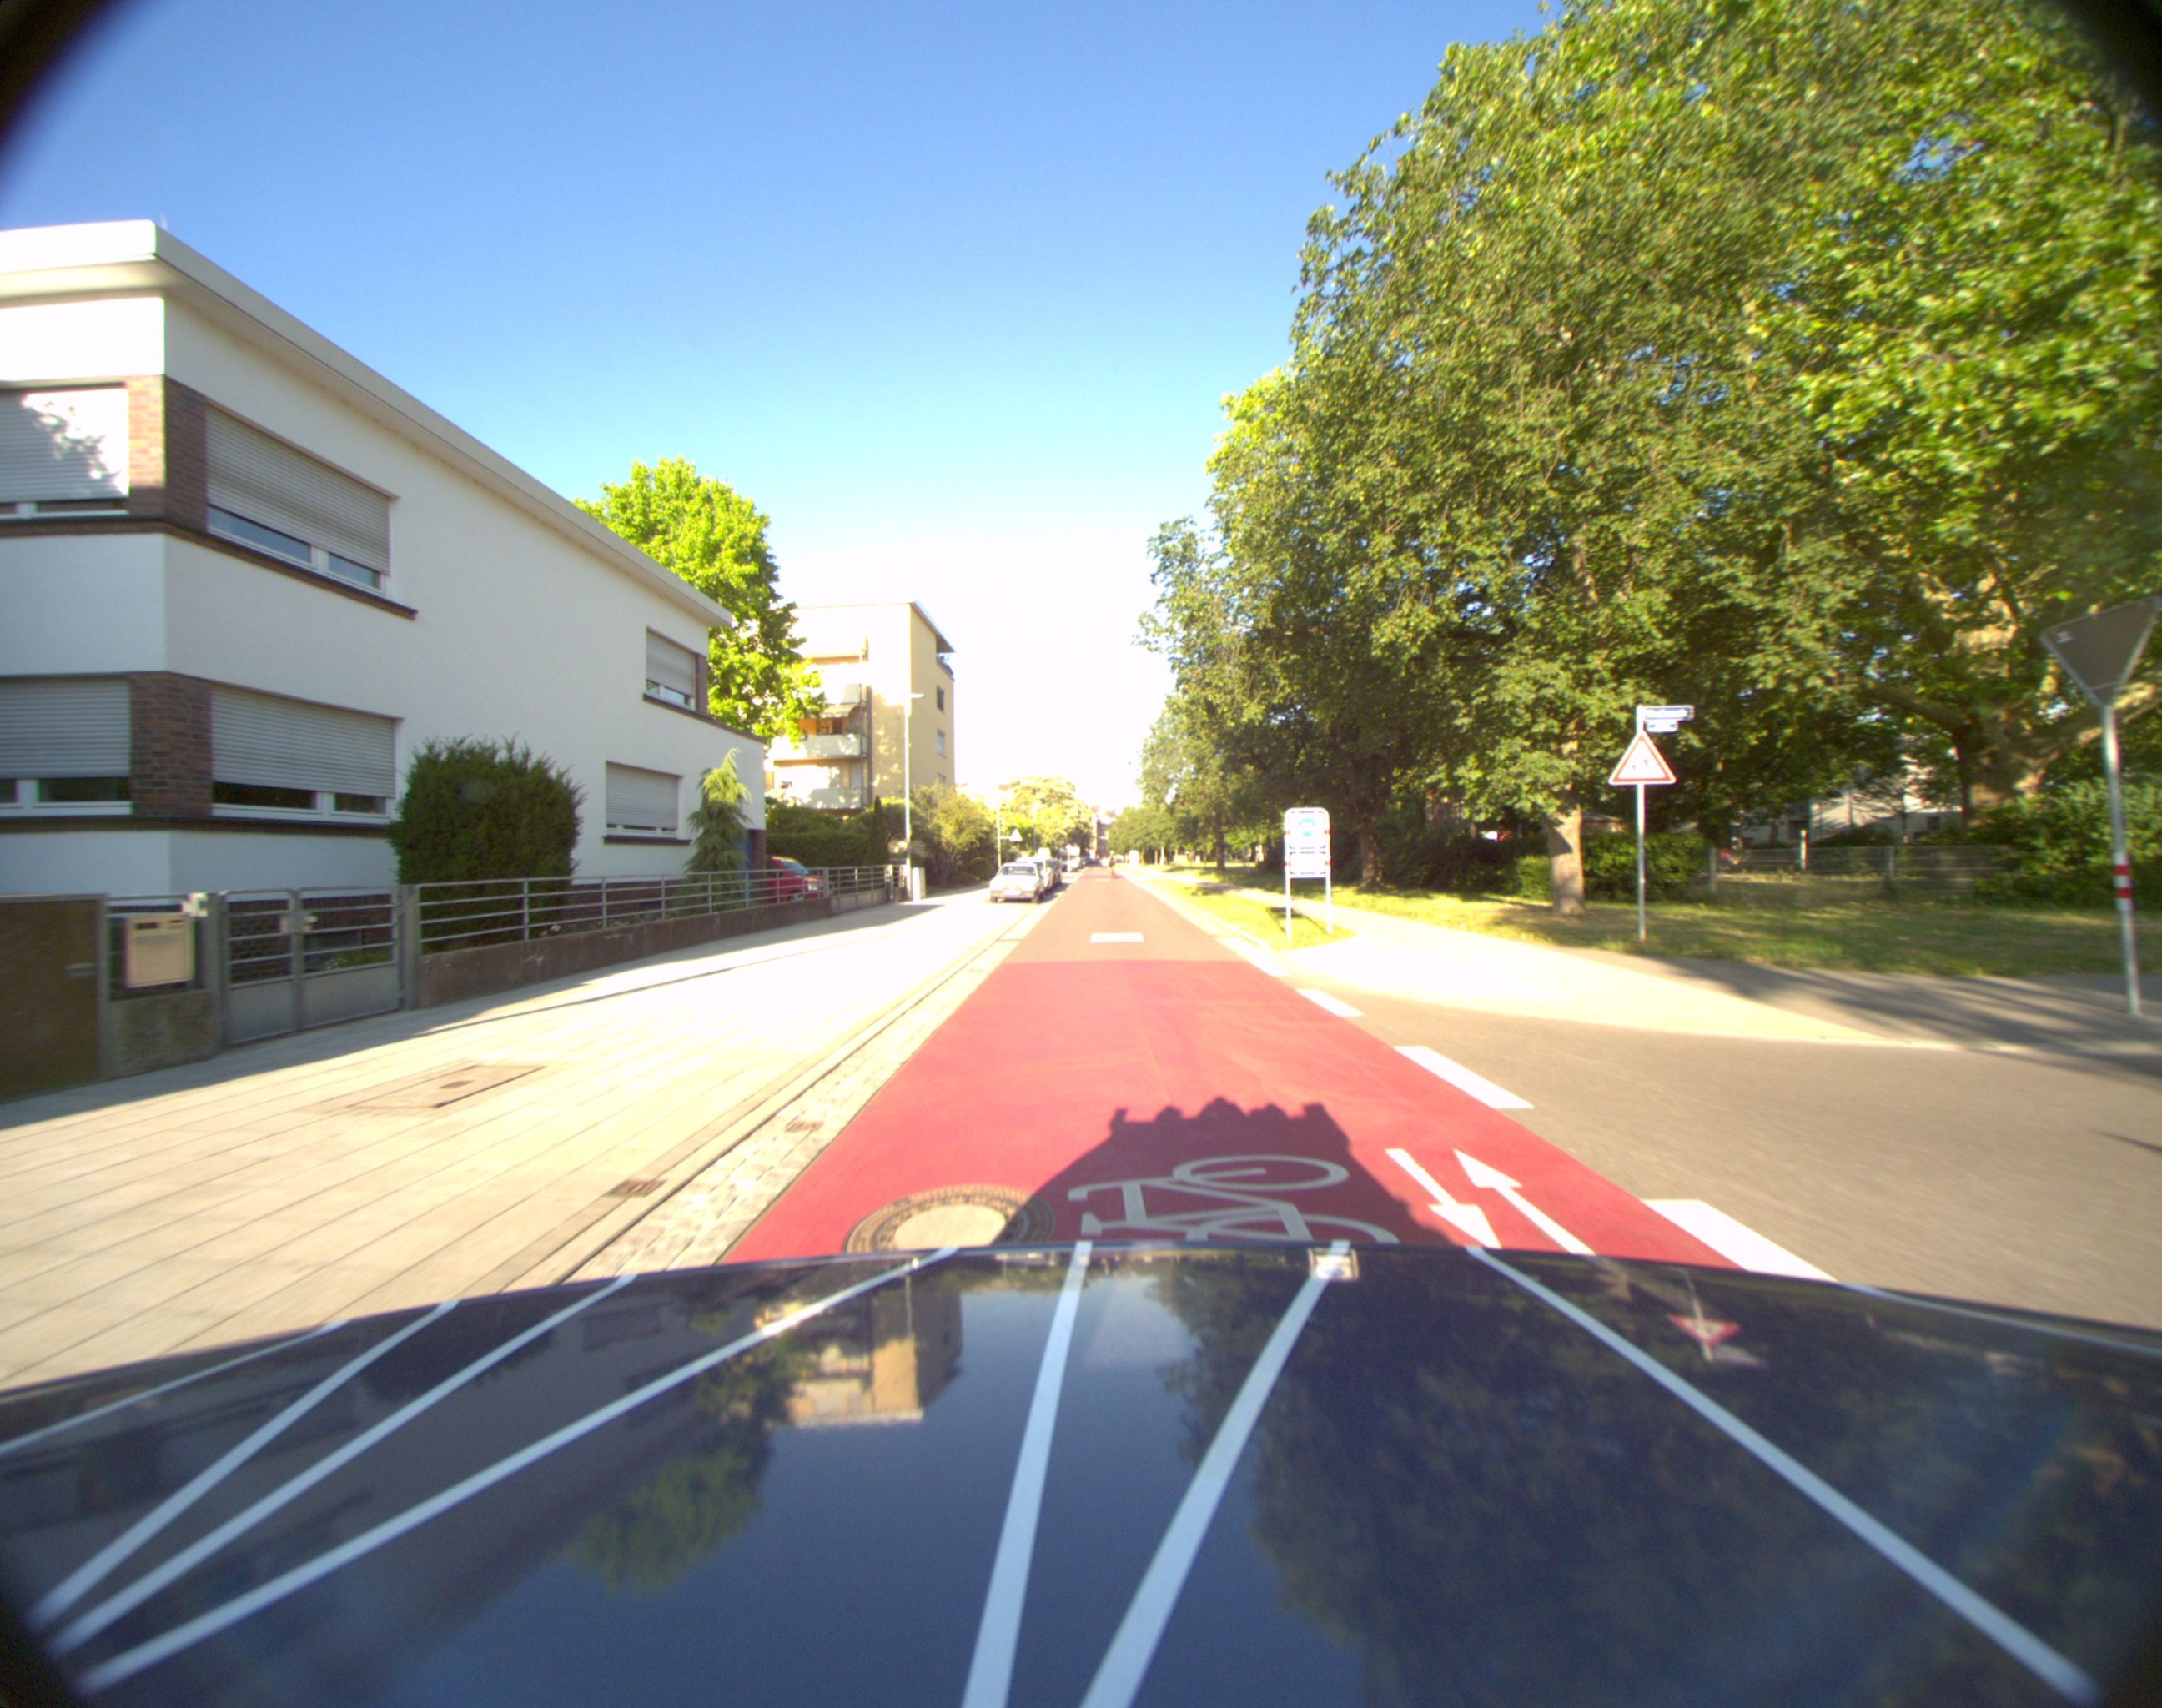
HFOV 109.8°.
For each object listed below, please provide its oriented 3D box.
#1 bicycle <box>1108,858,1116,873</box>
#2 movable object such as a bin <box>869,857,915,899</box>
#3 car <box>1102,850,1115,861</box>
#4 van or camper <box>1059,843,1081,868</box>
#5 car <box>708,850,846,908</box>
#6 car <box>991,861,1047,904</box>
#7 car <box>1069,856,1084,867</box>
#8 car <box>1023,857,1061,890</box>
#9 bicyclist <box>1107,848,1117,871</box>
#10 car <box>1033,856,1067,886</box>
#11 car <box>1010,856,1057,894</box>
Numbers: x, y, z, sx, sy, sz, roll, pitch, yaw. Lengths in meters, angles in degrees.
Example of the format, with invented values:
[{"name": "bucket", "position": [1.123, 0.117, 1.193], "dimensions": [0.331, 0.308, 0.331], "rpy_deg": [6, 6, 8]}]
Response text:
[{"name": "bicycle", "position": [2.368, 0.874, 57.420], "dimensions": [0.558, 1.026, 1.914], "rpy_deg": [-1, 1, 1]}, {"name": "movable object such as a bin", "position": [-6.695, 0.825, 26.973], "dimensions": [1.240, 1.424, 1.123], "rpy_deg": [-2, 1, 3]}, {"name": "car", "position": [4.534, 0.210, 126.426], "dimensions": [1.848, 1.837, 4.572], "rpy_deg": [-1, 0, -1]}, {"name": "van or camper", "position": [-1.189, 0.124, 85.572], "dimensions": [2.427, 2.766, 5.952], "rpy_deg": [1, 1, 0]}, {"name": "car", "position": [-9.254, 0.758, 23.256], "dimensions": [3.499, 1.632, 1.644], "rpy_deg": [-2, 1, 9]}, {"name": "car", "position": [-2.171, 0.981, 27.770], "dimensions": [1.567, 1.382, 4.374], "rpy_deg": [0, 0, 2]}, {"name": "car", "position": [-0.586, 1.032, 110.097], "dimensions": [1.998, 1.501, 4.000], "rpy_deg": [-2, 0, 1]}, {"name": "car", "position": [-1.936, 0.945, 38.719], "dimensions": [1.683, 1.546, 4.144], "rpy_deg": [0, 0, 1]}, {"name": "bicyclist", "position": [2.345, 0.418, 57.289], "dimensions": [0.683, 1.663, 1.172], "rpy_deg": [0, 1, 1]}, {"name": "car", "position": [-1.742, 0.964, 43.769], "dimensions": [1.714, 1.601, 4.168], "rpy_deg": [1, 0, 0]}, {"name": "car", "position": [-2.039, 0.888, 33.600], "dimensions": [1.682, 1.546, 4.130], "rpy_deg": [0, 0, 2]}]
